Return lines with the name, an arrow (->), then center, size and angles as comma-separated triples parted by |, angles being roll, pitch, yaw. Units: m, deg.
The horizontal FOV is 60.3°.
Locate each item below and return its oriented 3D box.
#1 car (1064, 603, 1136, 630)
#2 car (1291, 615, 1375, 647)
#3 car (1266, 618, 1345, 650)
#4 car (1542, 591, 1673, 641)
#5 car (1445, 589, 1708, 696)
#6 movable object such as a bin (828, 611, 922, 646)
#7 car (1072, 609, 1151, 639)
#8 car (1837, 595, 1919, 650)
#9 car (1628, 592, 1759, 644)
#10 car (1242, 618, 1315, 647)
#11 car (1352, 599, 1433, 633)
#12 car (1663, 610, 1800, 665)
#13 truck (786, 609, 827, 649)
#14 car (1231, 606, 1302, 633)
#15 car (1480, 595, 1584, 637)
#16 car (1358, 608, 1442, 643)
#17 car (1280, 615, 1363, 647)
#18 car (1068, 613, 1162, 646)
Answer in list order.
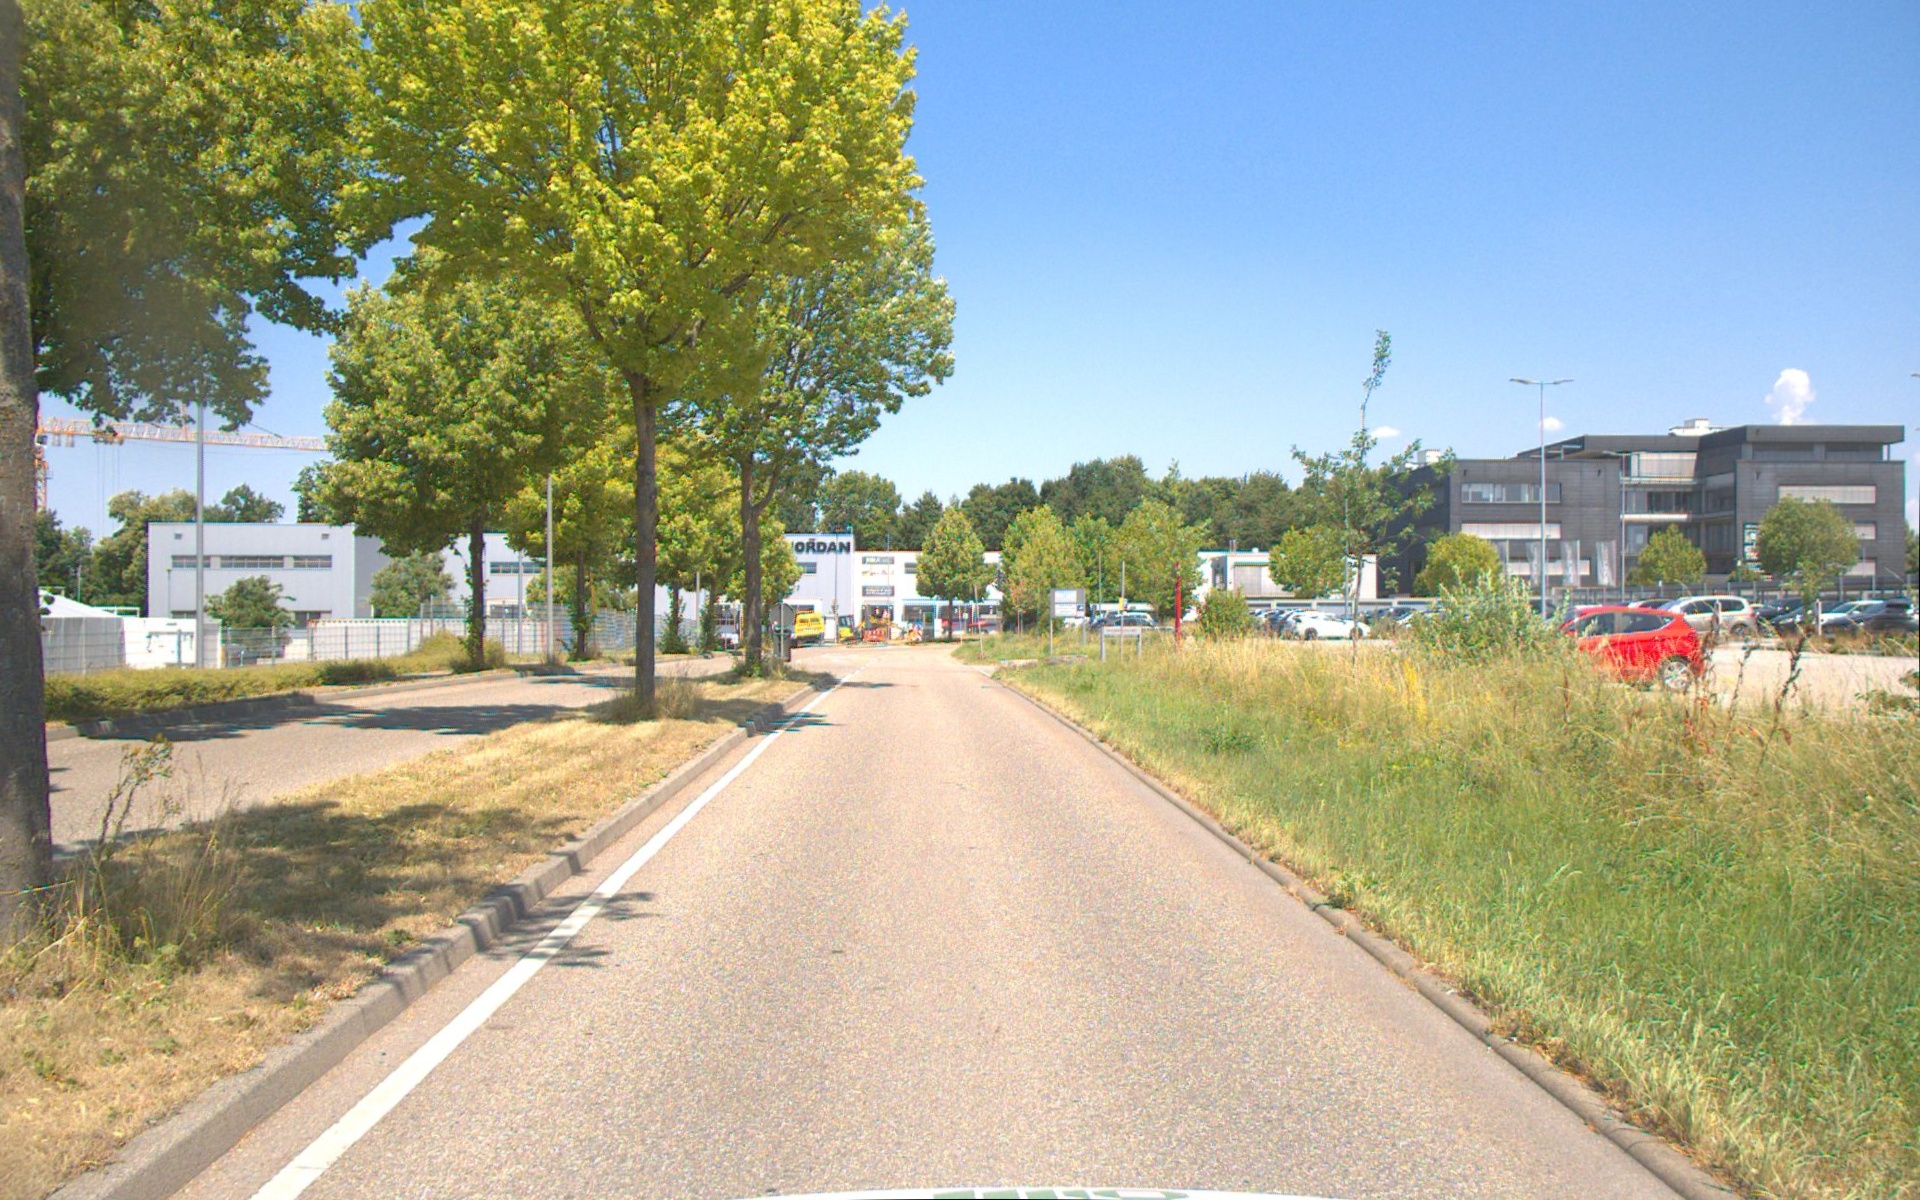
car -> 8.415, 0.973, 99.553 | 4.082, 1.424, 1.767 | -2, 2, -6
car -> 19.187, 1.590, 85.152 | 3.909, 1.424, 1.768 | -2, 2, -4
car -> 18.875, 1.866, 90.406 | 3.910, 1.516, 1.767 | -2, 2, -6
car -> 24.444, 0.588, 62.542 | 4.281, 1.623, 1.767 | -2, 2, -6
car -> 10.867, 0.741, 29.352 | 3.907, 1.754, 1.926 | -1, -1, -2
movable object such as a bin -> -7.134, 2.415, 139.692 | 7.366, 2.543, 3.669 | -1, 2, 6
car -> 8.346, 1.323, 91.248 | 4.082, 1.424, 1.767 | -2, 2, -6
car -> 25.800, 0.570, 44.000 | 3.907, 1.420, 1.926 | -1, -1, -2
car -> 26.067, 0.635, 58.821 | 3.910, 1.623, 1.767 | -2, 2, -6
car -> 18.900, 1.925, 98.206 | 3.910, 1.424, 1.767 | -2, 2, -6
car -> 23.669, 0.884, 90.654 | 3.910, 1.623, 1.767 | -2, 2, -6
car -> 26.376, 1.272, 56.616 | 3.910, 1.623, 1.767 | -2, 2, -6
truck -> -13.013, 2.449, 139.678 | 2.885, 2.936, 5.796 | -2, 3, -10
car -> 18.697, 1.162, 100.974 | 3.910, 1.424, 1.767 | -2, 2, -6
car -> 25.232, 0.693, 72.976 | 3.910, 1.623, 1.860 | -2, 2, -6
car -> 23.317, 1.349, 87.660 | 3.910, 1.623, 1.767 | -2, 2, -6
car -> 19.088, 1.625, 87.395 | 3.910, 1.424, 1.767 | -2, 2, -6
car -> 7.940, 1.507, 84.859 | 4.607, 1.424, 1.922 | -2, 2, 0
